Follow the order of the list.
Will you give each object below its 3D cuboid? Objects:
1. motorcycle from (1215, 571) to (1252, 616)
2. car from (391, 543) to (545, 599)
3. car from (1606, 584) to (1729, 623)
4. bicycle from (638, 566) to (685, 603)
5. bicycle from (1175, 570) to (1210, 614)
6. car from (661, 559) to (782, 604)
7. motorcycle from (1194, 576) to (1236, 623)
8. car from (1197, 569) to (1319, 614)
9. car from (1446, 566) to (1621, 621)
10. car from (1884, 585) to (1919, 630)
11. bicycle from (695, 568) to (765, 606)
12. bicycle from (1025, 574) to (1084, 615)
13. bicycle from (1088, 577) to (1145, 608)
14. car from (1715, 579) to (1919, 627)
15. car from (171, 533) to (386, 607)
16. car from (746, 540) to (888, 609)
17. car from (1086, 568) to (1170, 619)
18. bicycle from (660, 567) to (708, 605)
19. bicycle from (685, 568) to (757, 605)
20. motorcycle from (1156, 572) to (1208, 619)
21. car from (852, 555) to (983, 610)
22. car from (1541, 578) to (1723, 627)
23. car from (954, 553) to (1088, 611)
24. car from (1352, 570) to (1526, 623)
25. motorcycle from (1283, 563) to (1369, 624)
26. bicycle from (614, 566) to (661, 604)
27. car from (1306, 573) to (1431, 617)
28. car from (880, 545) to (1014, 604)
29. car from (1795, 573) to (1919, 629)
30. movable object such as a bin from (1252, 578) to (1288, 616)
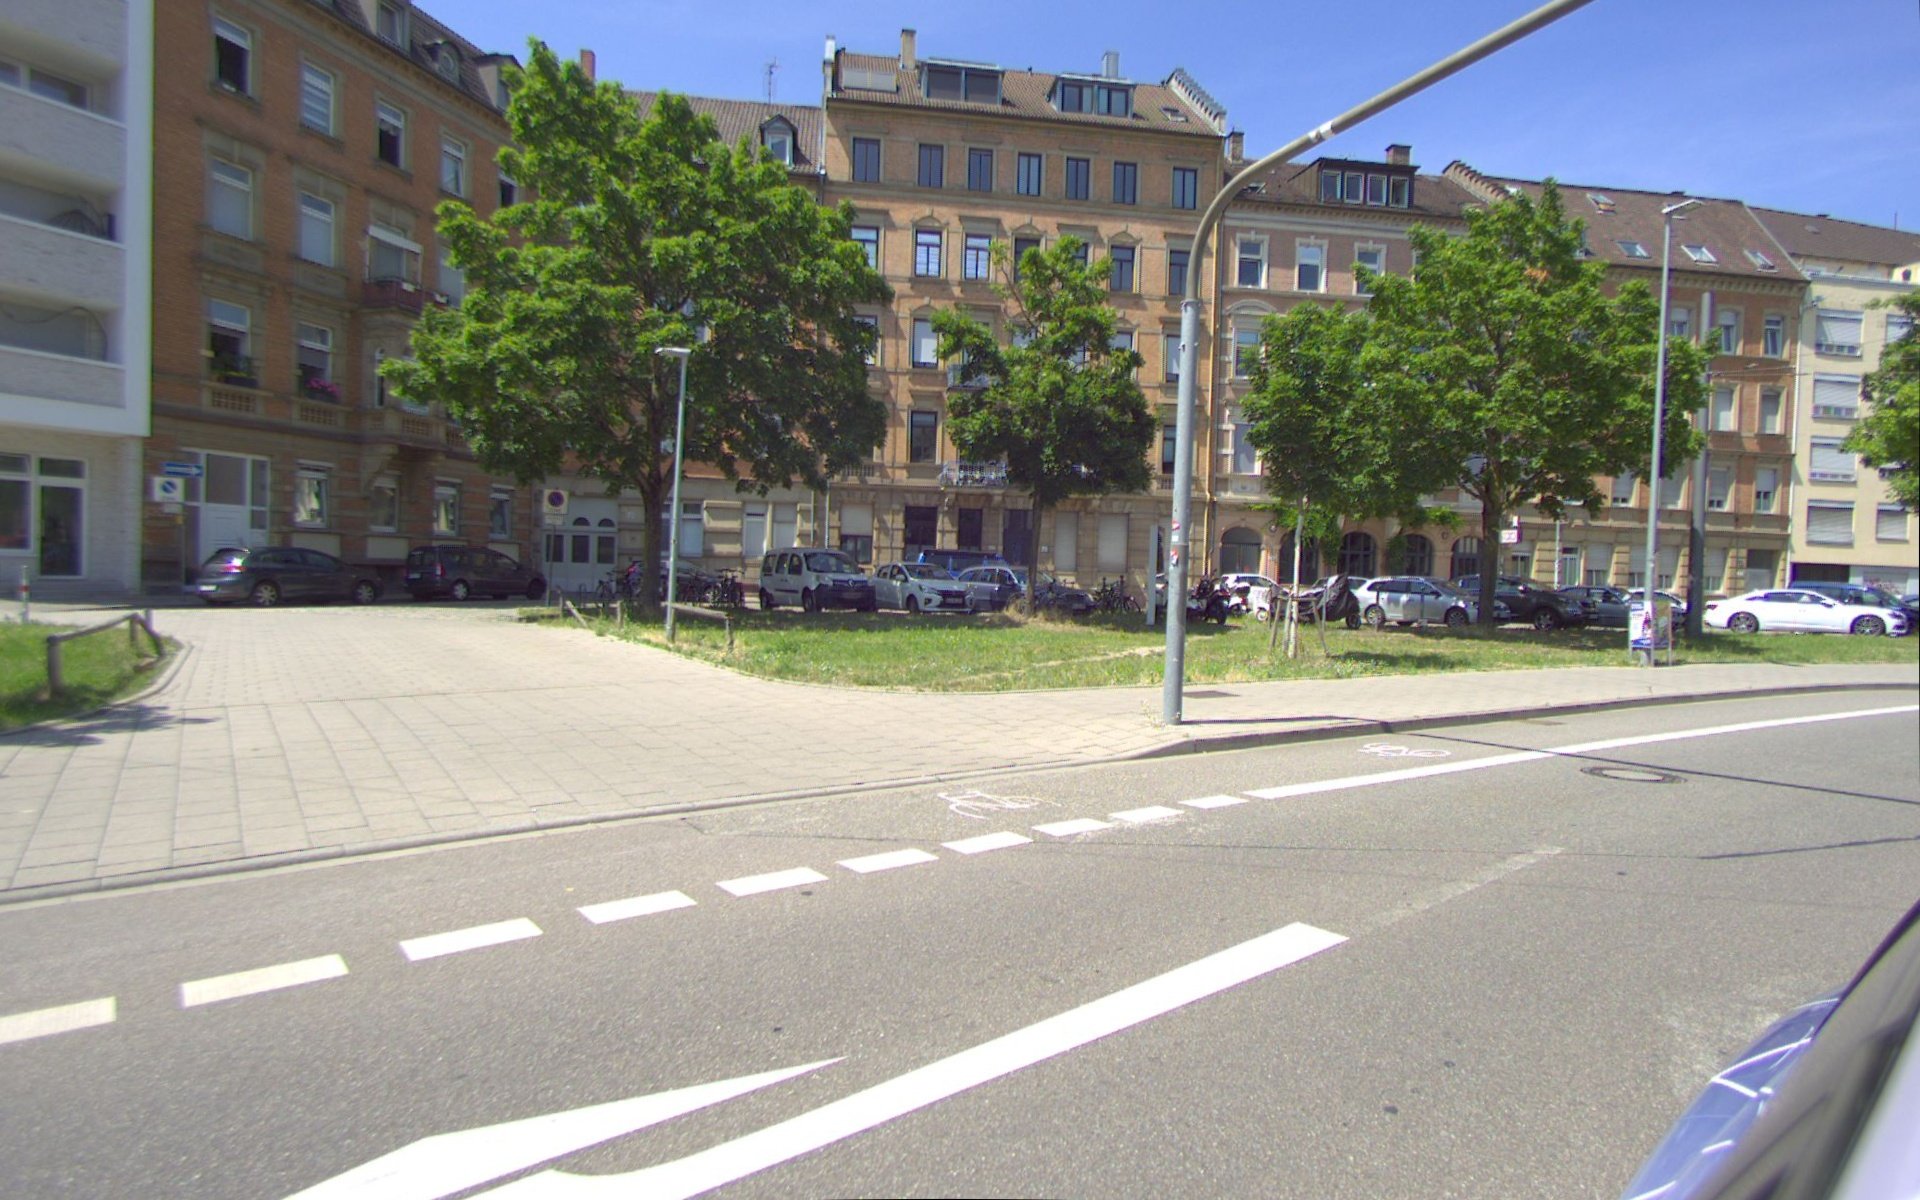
[{"bbox_3d":[7.988,-0.188,29.650,0.799,1.251,2.080,1,1,8],"label":"motorcycle"},{"bbox_3d":[-14.693,-0.830,30.481,1.757,1.549,4.051,1,0,22],"label":"car"},{"bbox_3d":[27.560,0.132,39.468,3.640,1.438,1.787,1,0,-7],"label":"car"},{"bbox_3d":[-7.850,-0.408,26.564,0.499,0.947,2.050,1,0,-37],"label":"bicycle"},{"bbox_3d":[6.851,-0.233,29.909,0.620,1.251,2.083,1,0,3],"label":"bicycle"},{"bbox_3d":[-8.176,-0.617,34.976,3.918,1.438,1.780,1,0,-8],"label":"car"},{"bbox_3d":[6.433,-0.026,25.577,0.468,1.134,1.527,1,0,-7],"label":"motorcycle"},{"bbox_3d":[11.045,-0.322,37.680,3.920,1.549,1.844,1,0,-5],"label":"car"},{"bbox_3d":[16.609,-0.207,29.497,1.763,1.488,4.094,1,0,-34],"label":"car"},{"bbox_3d":[31.803,0.278,31.762,1.683,1.418,3.992,1,0,-42],"label":"car"},{"bbox_3d":[-6.252,-0.357,27.443,2.417,0.947,0.501,3,1,41],"label":"bicycle"},{"bbox_3d":[2.278,-0.129,24.336,1.351,0.959,0.474,1,0,15],"label":"bicycle"},{"bbox_3d":[4.225,-0.199,27.381,1.442,0.815,0.494,1,0,28],"label":"bicycle"},{"bbox_3d":[26.149,0.060,30.934,4.770,1.330,2.117,2,0,43],"label":"car"},{"bbox_3d":[-16.368,-0.677,24.555,1.676,1.645,4.099,1,0,22],"label":"car"},{"bbox_3d":[-3.882,-0.642,26.707,1.800,1.621,4.877,1,0,-33],"label":"car"},{"bbox_3d":[5.030,-0.201,30.758,1.920,1.393,3.999,1,0,1],"label":"car"},{"bbox_3d":[-7.303,-0.378,26.703,0.499,0.947,2.050,1,0,-37],"label":"bicycle"},{"bbox_3d":[-6.305,-0.362,26.597,2.417,0.947,0.501,2,0,41],"label":"bicycle"},{"bbox_3d":[5.564,-0.114,25.463,0.517,1.134,1.831,1,0,-14],"label":"motorcycle"},{"bbox_3d":[-1.225,-0.460,27.279,1.725,1.349,4.002,1,0,-33],"label":"car"},{"bbox_3d":[19.579,0.055,29.659,1.932,1.330,4.005,1,0,-28],"label":"car"},{"bbox_3d":[1.581,-0.477,27.627,1.577,1.450,3.869,1,0,-35],"label":"car"},{"bbox_3d":[13.627,-0.112,29.027,1.551,1.393,4.351,1,0,-32],"label":"car"},{"bbox_3d":[9.064,-0.163,25.106,1.819,1.430,0.678,2,2,-5],"label":"motorcycle"},{"bbox_3d":[-8.306,-0.393,26.035,0.499,0.947,2.050,1,0,-37],"label":"bicycle"},{"bbox_3d":[15.391,-0.180,38.223,3.918,1.549,1.845,1,0,-9],"label":"car"},{"bbox_3d":[-0.526,-0.880,36.111,4.560,1.928,1.928,1,0,-6],"label":"car"},{"bbox_3d":[29.045,0.037,31.754,1.933,1.683,4.003,1,0,-32],"label":"car"},{"bbox_3d":[8.146,-0.083,26.648,0.689,0.949,0.988,1,0,5],"label":"movable object such as a bin"}]
